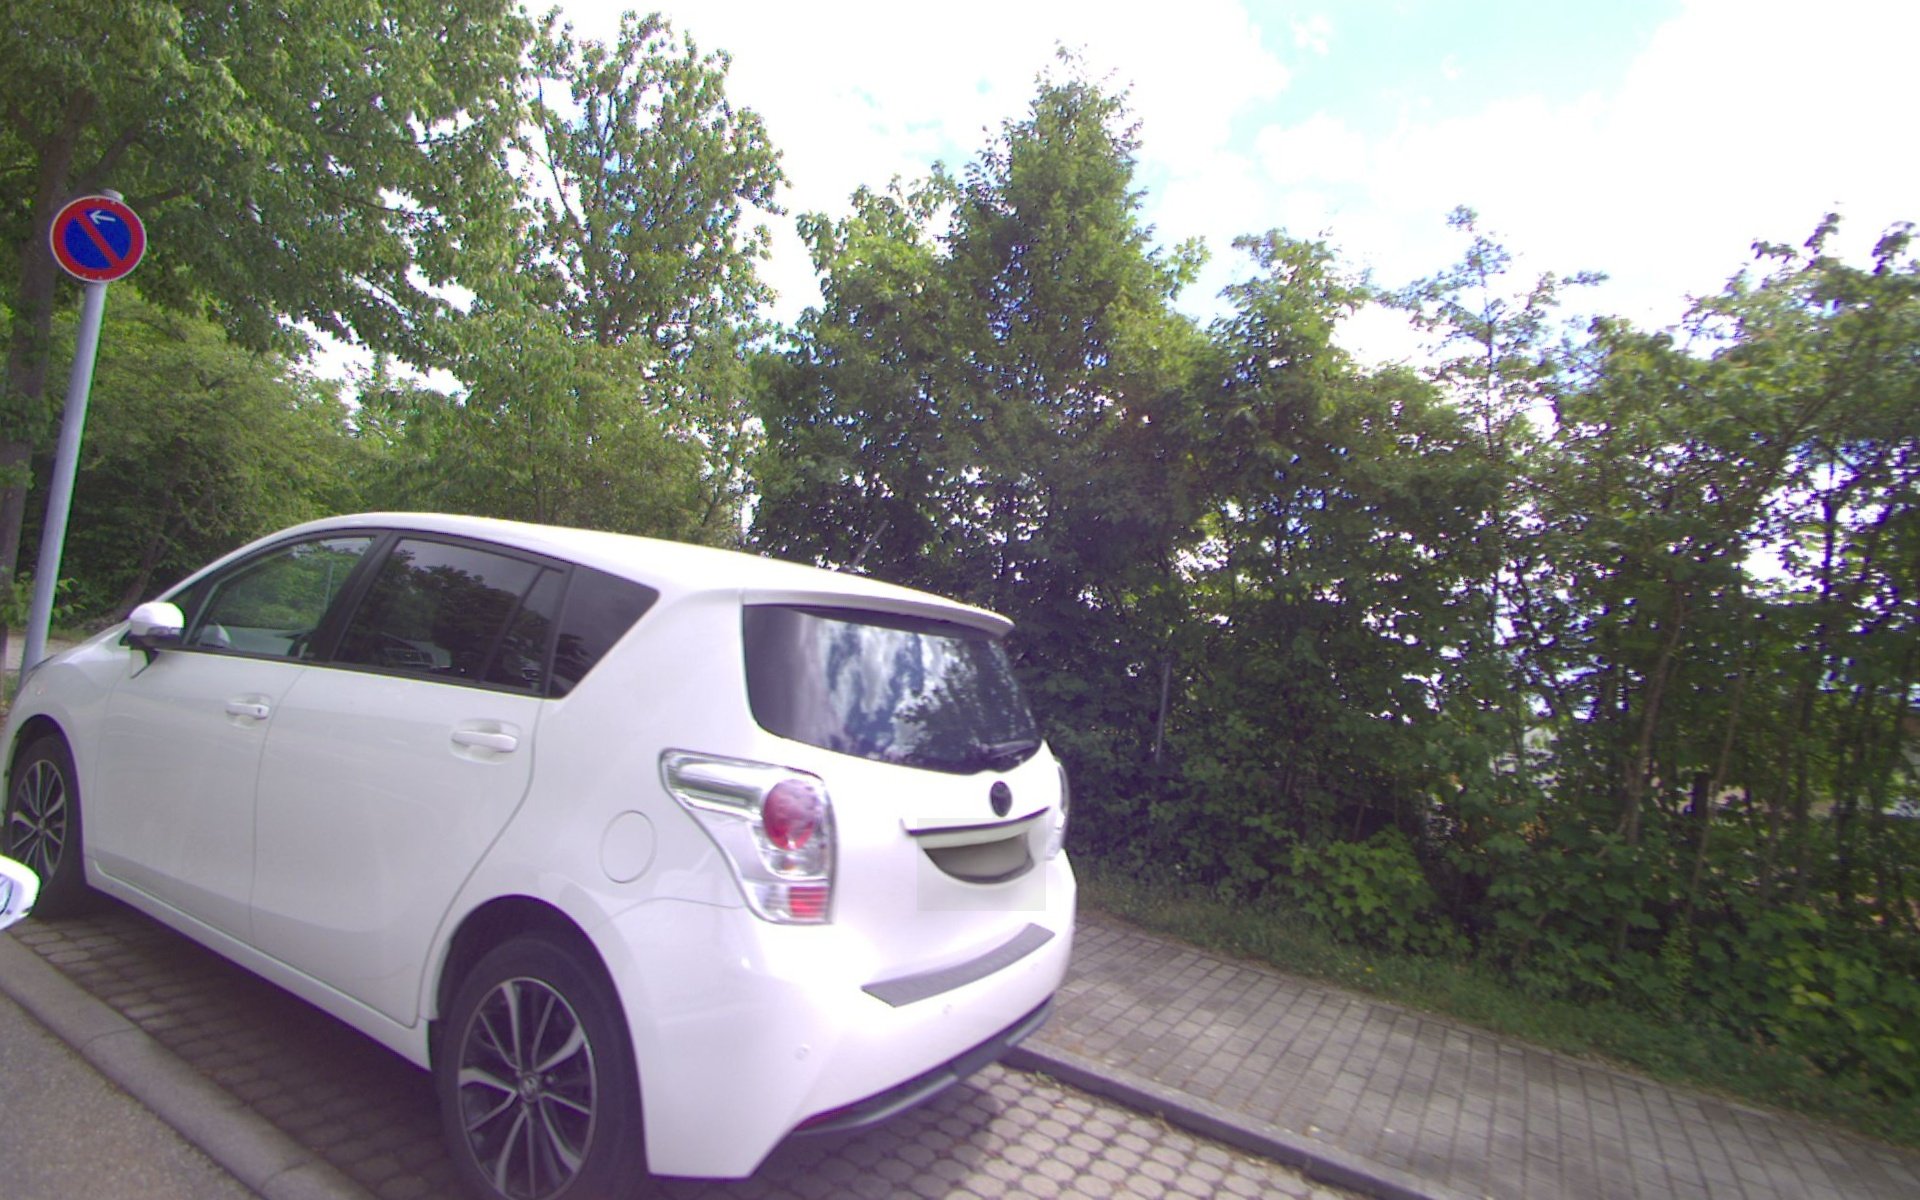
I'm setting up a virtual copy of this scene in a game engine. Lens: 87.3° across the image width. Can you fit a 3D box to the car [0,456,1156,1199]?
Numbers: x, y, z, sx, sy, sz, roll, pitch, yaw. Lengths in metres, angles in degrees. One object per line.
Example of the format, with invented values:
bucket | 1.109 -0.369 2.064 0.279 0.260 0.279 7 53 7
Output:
car | -1.726 0.537 3.681 4.297 1.618 1.809 7 -2 30
